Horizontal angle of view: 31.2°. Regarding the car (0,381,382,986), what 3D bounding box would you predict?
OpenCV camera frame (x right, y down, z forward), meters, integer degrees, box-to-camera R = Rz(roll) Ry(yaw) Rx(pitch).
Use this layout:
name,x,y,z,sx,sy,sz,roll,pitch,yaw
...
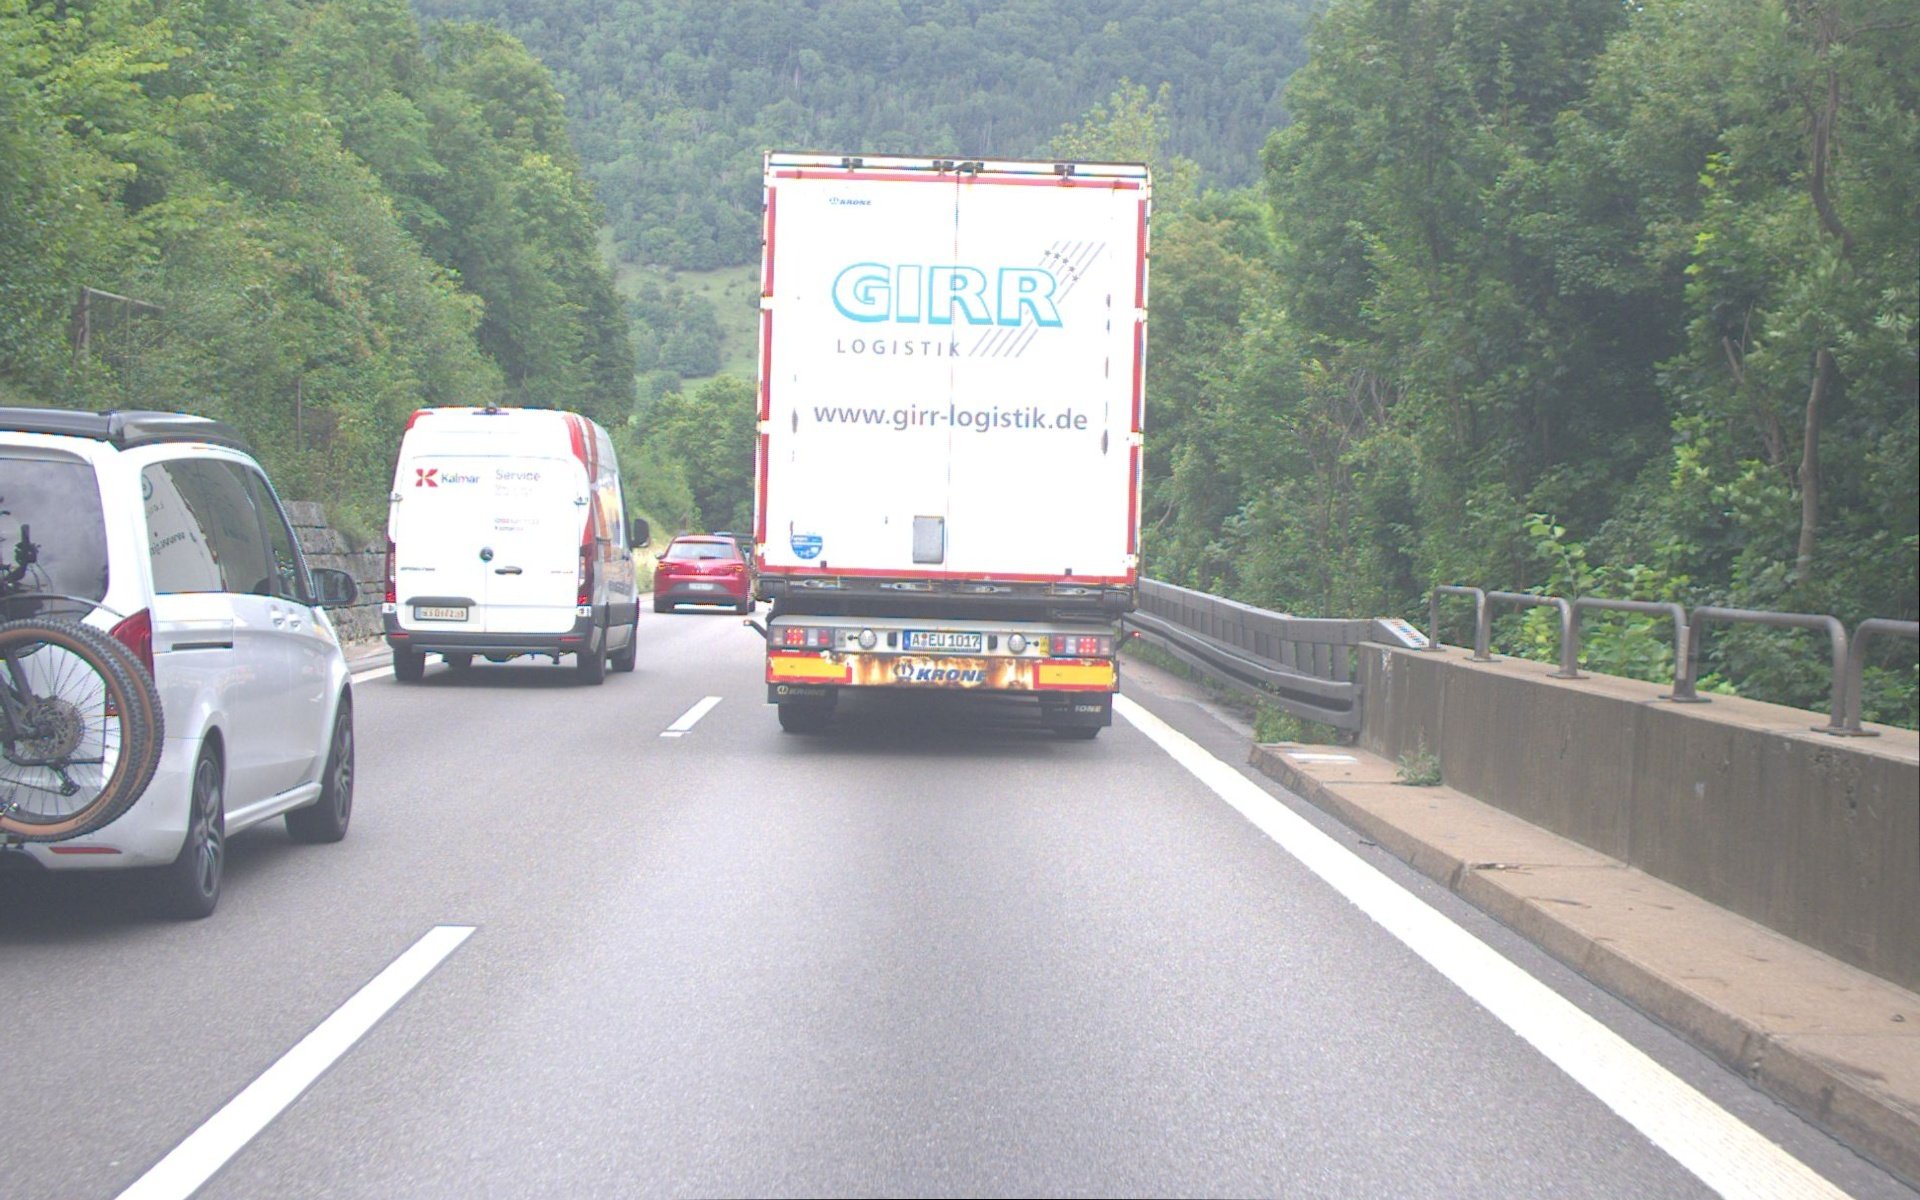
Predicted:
name,x,y,z,sx,sy,sz,roll,pitch,yaw
car,-3.833,0.187,14.129,1.993,1.946,6.148,1,1,-1

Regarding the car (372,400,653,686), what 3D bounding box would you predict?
name,x,y,z,sx,sy,sz,roll,pitch,yaw
car,-4.327,-0.559,34.234,2.026,2.576,6.275,0,1,-1

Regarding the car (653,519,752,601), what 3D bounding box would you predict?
name,x,y,z,sx,sy,sz,roll,pitch,yaw
car,-4.793,-0.748,63.924,1.766,1.455,4.412,-1,1,-5

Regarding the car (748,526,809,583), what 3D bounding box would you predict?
name,x,y,z,sx,sy,sz,roll,pitch,yaw
car,-5.355,-1.345,101.729,1.669,1.633,4.068,0,1,-1

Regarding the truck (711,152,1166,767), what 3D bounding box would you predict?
name,x,y,z,sx,sy,sz,roll,pitch,yaw
truck,-0.160,-0.984,26.826,2.908,3.947,9.279,0,1,0
